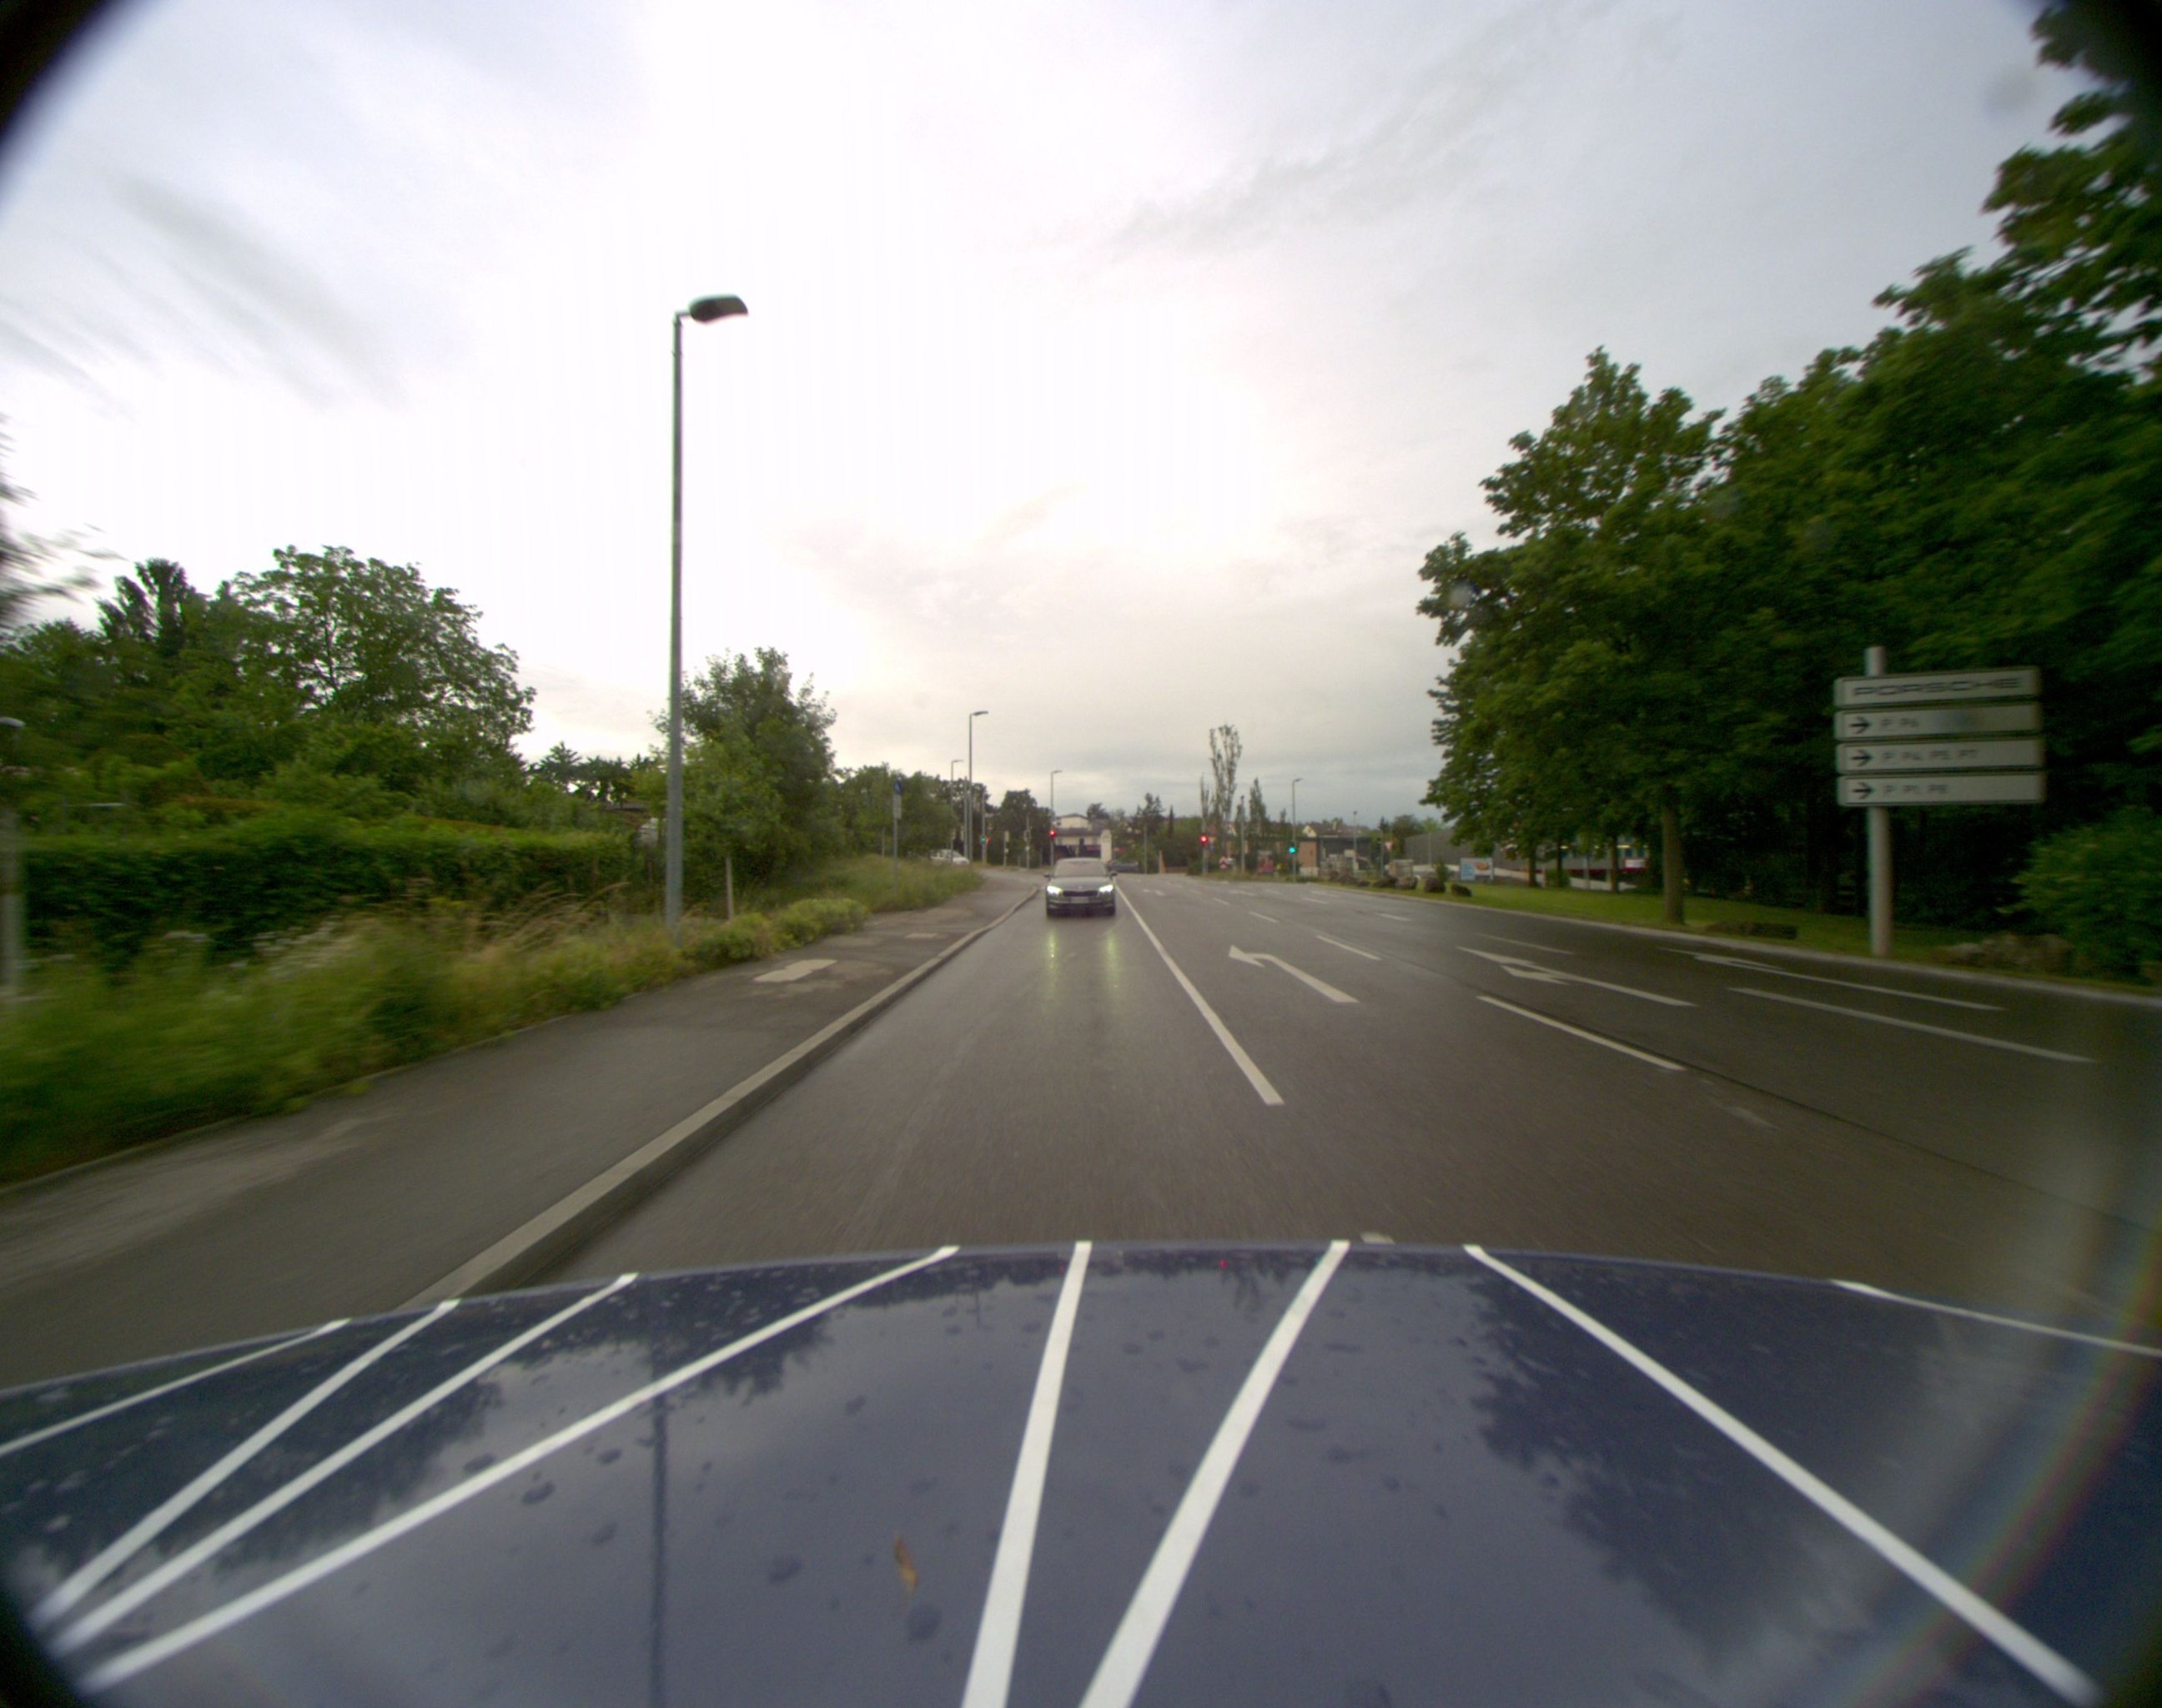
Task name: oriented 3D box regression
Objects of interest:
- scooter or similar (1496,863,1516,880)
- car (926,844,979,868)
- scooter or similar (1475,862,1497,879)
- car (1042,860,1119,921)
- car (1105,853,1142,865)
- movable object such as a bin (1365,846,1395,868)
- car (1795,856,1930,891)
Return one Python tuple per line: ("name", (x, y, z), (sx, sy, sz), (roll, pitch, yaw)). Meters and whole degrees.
("scooter or similar", (32.404, 1.306, 57.942), (1.226, 1.251, 0.517), (2, 0, -5))
("car", (-10.441, 0.124, 61.548), (4.050, 1.596, 1.826), (3, 5, 34))
("scooter or similar", (30.940, 1.271, 58.047), (1.357, 1.251, 0.549), (2, 0, -5))
("car", (-0.022, 0.900, 20.575), (1.839, 1.448, 4.202), (-1, 0, 0))
("car", (4.887, 0.563, 87.098), (4.036, 1.396, 1.842), (0, -1, 8))
("movable object such as a bin", (38.355, 0.383, 97.637), (2.996, 2.611, 1.929), (2, 0, 1))
("car", (36.724, 0.886, 35.842), (3.989, 1.510, 2.004), (1, 1, 29))
